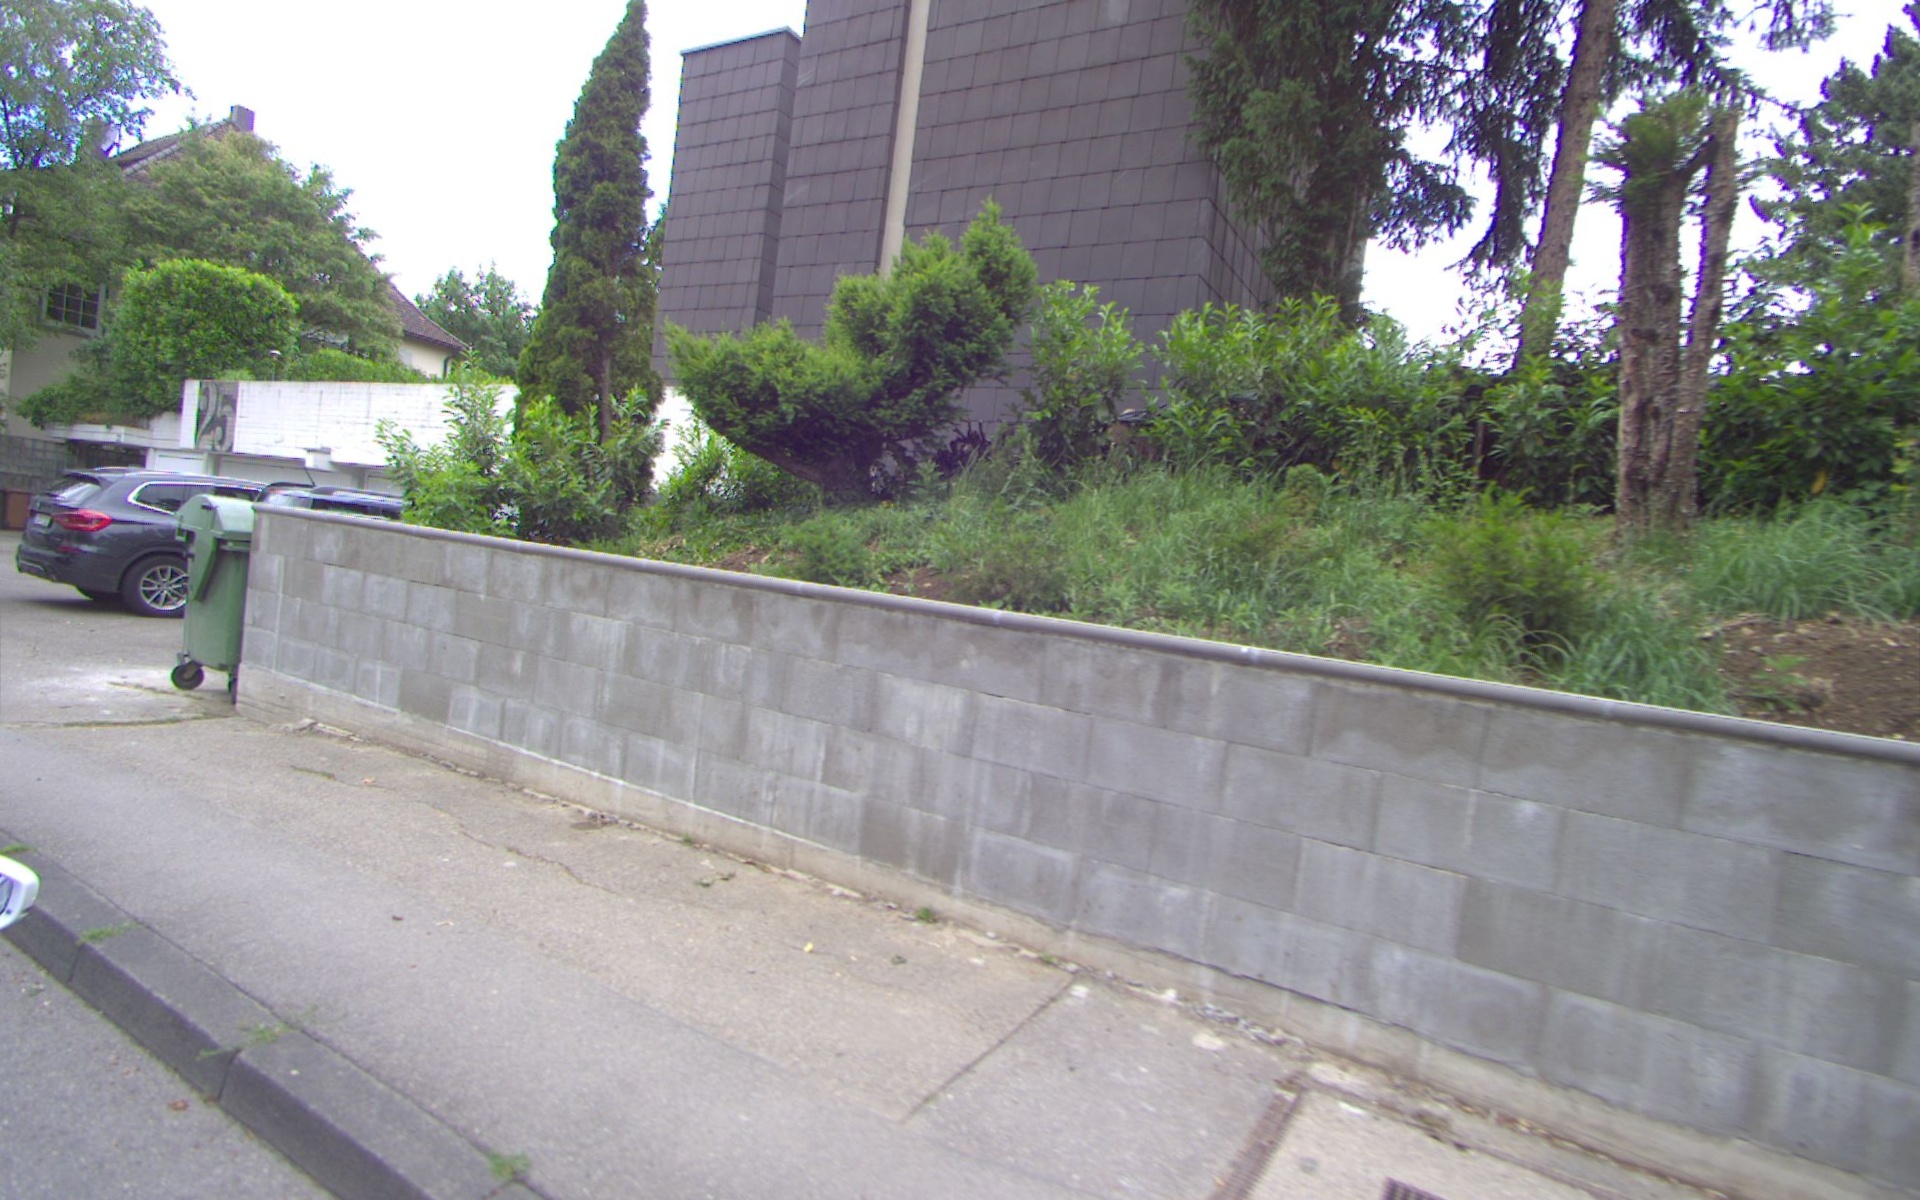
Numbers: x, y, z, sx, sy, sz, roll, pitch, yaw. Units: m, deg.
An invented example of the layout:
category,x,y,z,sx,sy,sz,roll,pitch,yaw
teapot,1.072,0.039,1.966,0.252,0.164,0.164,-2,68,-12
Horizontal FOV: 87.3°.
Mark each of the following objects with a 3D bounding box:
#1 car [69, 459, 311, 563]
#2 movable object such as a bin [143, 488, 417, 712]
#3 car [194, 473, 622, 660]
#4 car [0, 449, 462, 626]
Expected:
category,x,y,z,sx,sy,sz,roll,pitch,yaw
car,-18.009,-2.036,23.730,1.936,1.732,3.995,8,0,29
movable object such as a bin,-5.155,-0.007,7.668,1.161,1.470,1.300,7,2,31
car,-6.093,-0.284,11.494,1.801,1.673,3.797,8,2,35
car,-9.013,-0.672,12.818,1.800,1.673,4.395,8,2,33
